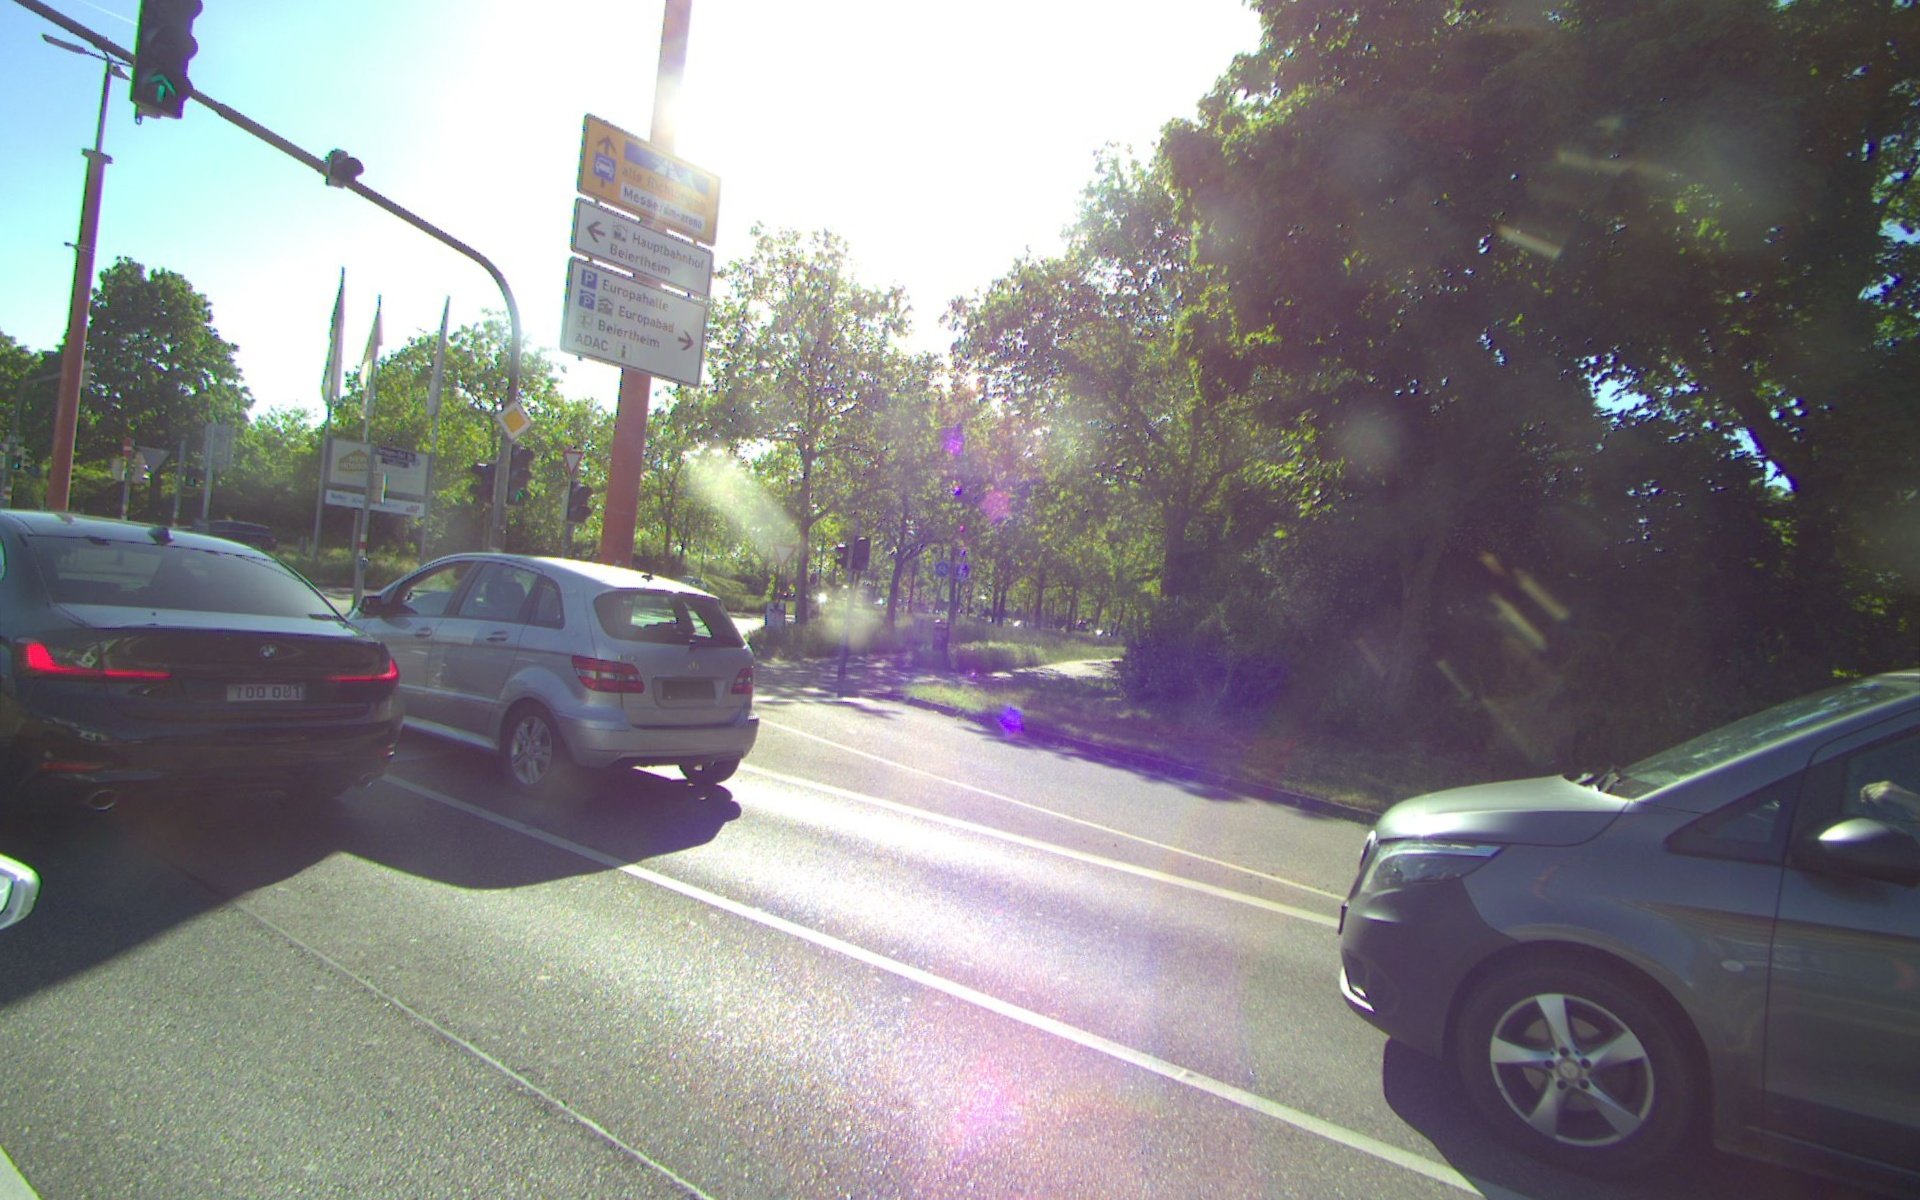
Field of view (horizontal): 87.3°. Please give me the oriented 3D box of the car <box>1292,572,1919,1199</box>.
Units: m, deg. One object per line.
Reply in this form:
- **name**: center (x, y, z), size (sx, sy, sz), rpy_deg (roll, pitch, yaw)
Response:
- **car**: center (3.915, 1.138, 3.132), size (5.021, 1.875, 1.806), rpy_deg (7, 0, 34)

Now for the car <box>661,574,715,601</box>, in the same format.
- **car**: center (-21.792, -0.967, 80.752), size (1.737, 1.655, 4.297), rpy_deg (7, -1, 23)

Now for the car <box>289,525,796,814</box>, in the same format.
- **car**: center (-3.395, 0.445, 8.020), size (3.784, 1.626, 1.719), rpy_deg (6, -2, 32)

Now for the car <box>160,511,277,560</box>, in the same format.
- **car**: center (-35.714, -3.077, 48.513), size (4.271, 1.654, 1.749), rpy_deg (9, -3, -42)

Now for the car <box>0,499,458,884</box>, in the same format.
- **car**: center (-4.995, 0.244, 5.629), size (4.222, 1.458, 1.768), rpy_deg (6, -2, 30)
